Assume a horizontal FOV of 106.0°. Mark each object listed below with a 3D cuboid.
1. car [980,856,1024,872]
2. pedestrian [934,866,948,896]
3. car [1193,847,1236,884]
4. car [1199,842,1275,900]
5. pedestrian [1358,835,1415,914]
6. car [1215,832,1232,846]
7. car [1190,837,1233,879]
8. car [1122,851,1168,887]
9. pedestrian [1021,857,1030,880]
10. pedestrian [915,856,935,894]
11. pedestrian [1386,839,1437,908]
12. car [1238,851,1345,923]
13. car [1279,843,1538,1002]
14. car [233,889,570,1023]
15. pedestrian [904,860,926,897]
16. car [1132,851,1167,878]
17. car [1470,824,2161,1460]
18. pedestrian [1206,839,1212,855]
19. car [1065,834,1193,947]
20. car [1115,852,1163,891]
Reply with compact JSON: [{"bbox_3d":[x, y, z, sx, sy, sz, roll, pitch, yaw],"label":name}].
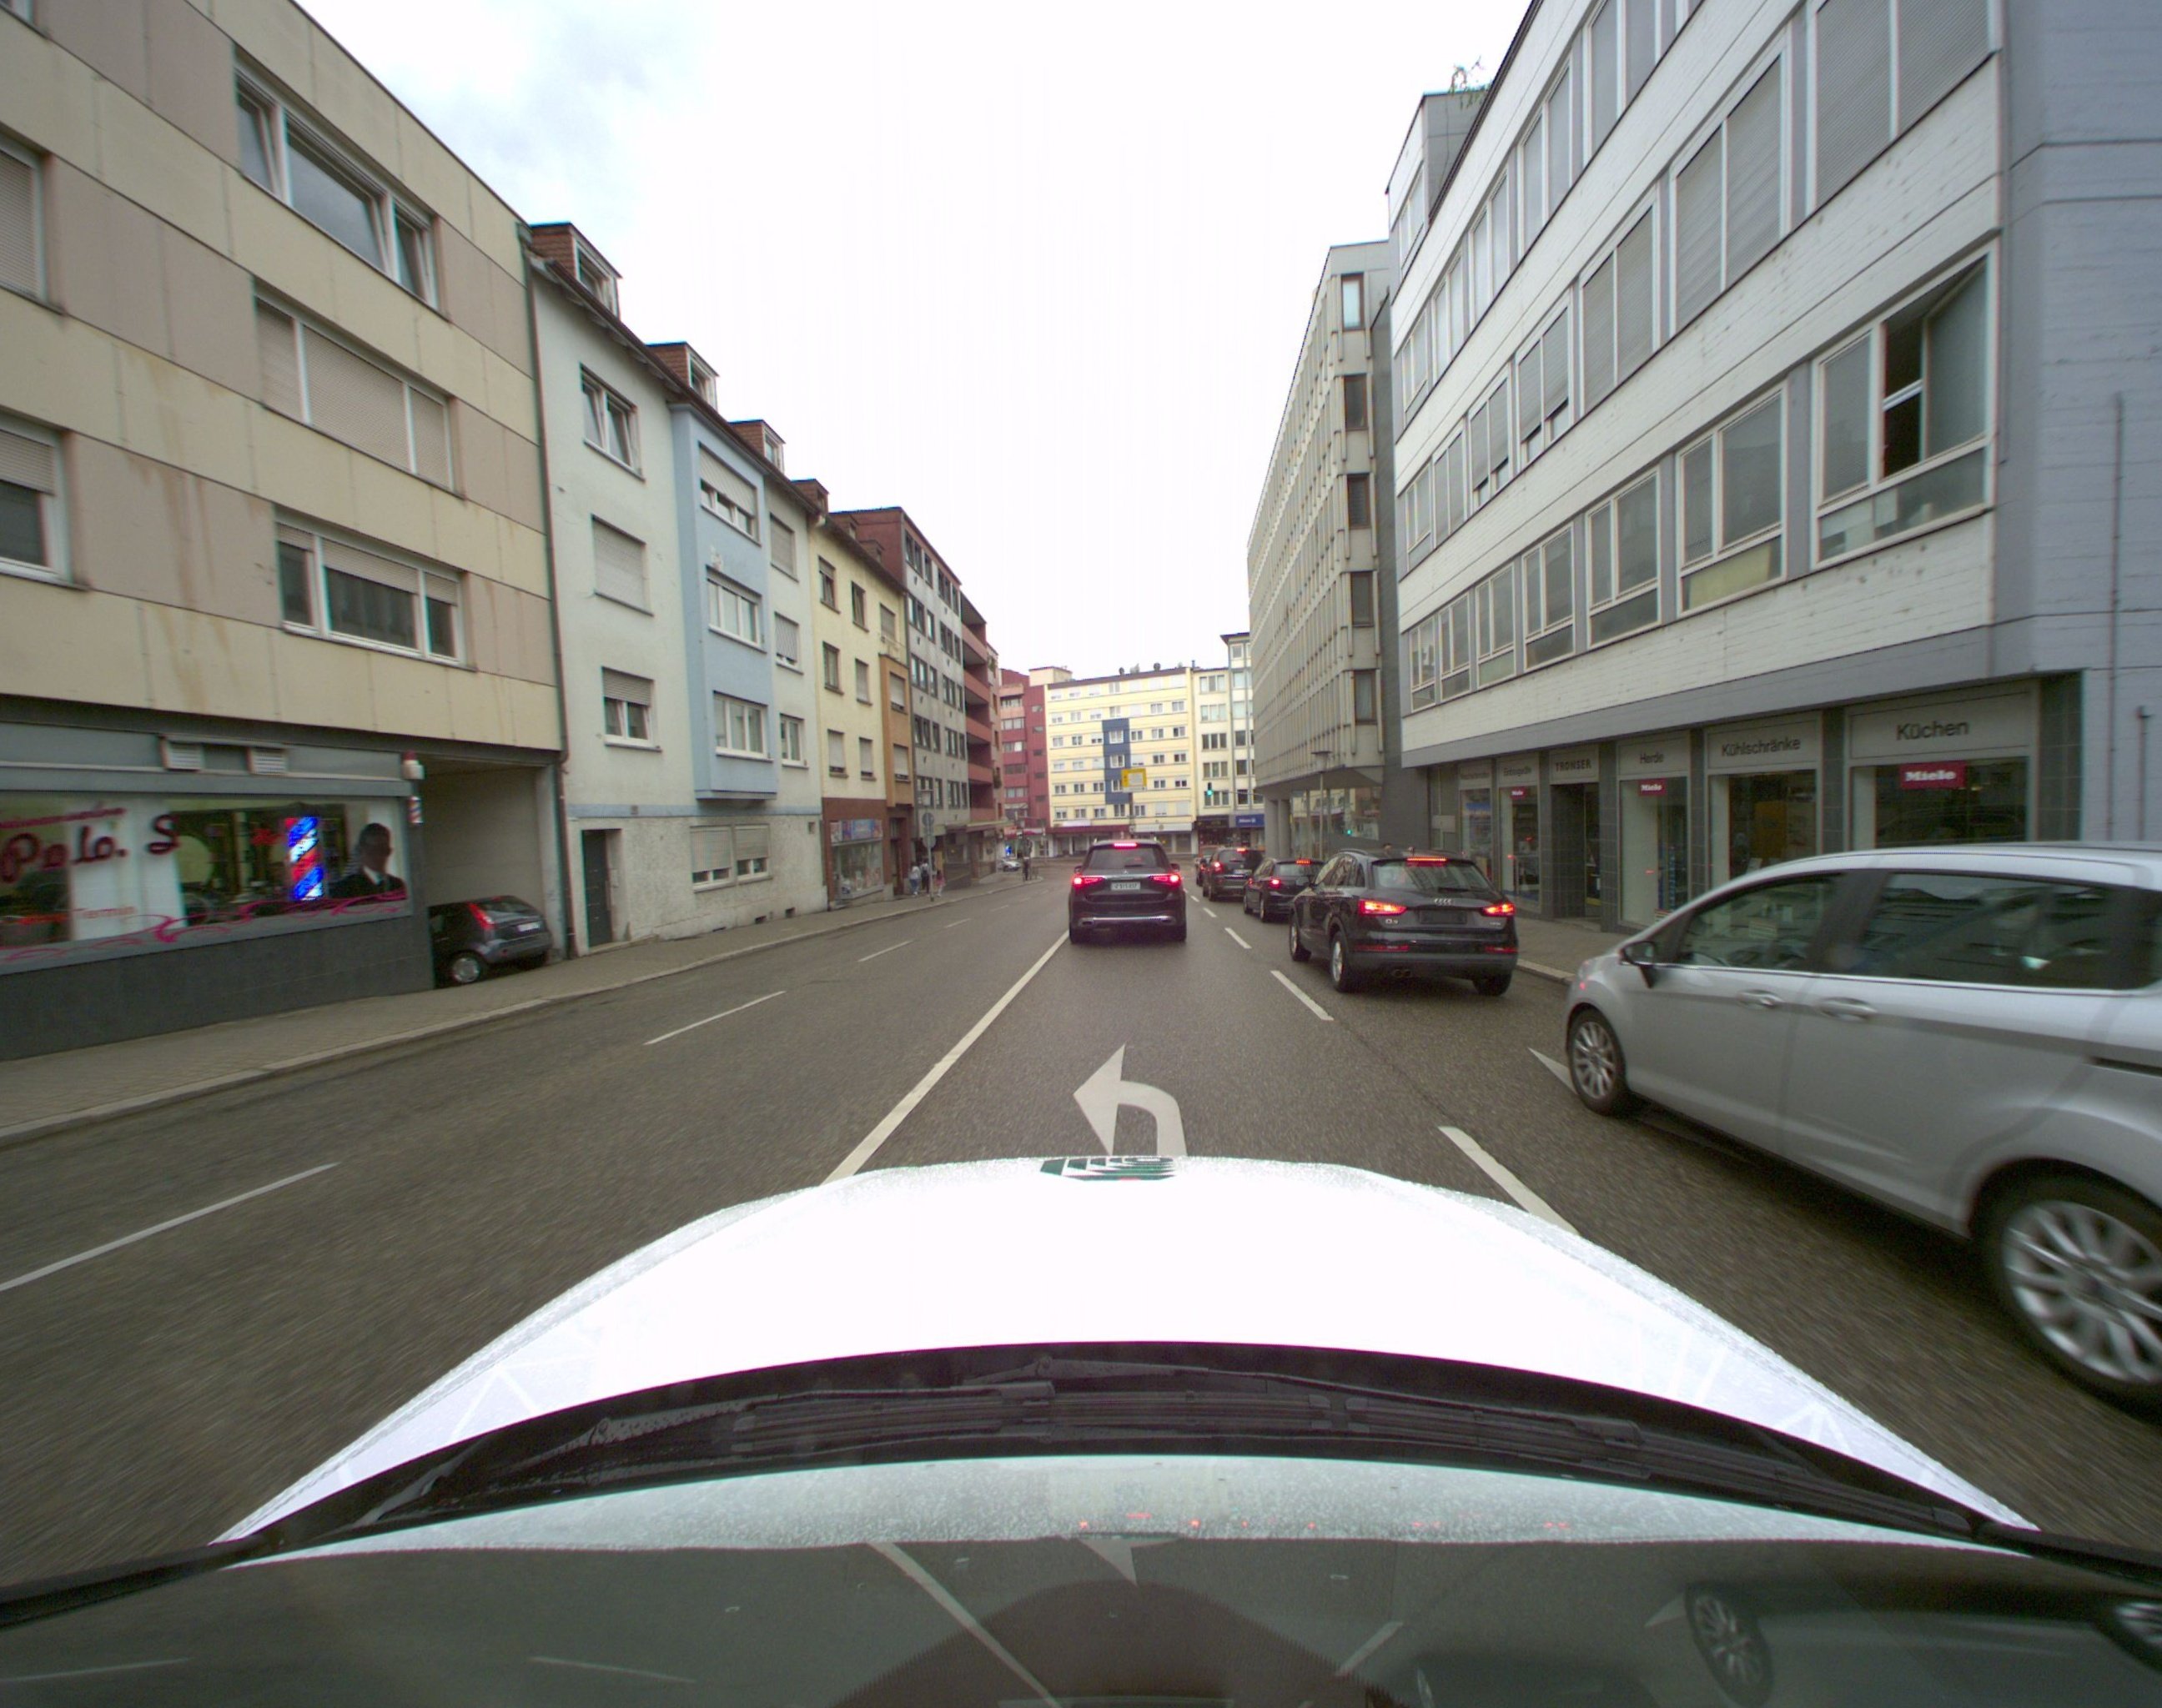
[{"bbox_3d":[-8.215,1.026,84.375,4.127,1.592,1.749,-1,0,20],"label":"car"},{"bbox_3d":[-6.281,1.200,36.559,0.532,1.323,0.722,0,0,-4],"label":"pedestrian"},{"bbox_3d":[6.380,0.559,39.196,1.813,1.658,4.503,-1,-1,7],"label":"car"},{"bbox_3d":[4.975,0.505,26.557,1.889,1.695,4.510,1,0,4],"label":"car"},{"bbox_3d":[7.024,0.467,18.792,0.781,1.705,1.121,-5,-1,2],"label":"pedestrian"},{"bbox_3d":[18.714,-1.943,106.919,1.784,1.670,4.015,-3,0,14],"label":"car"},{"bbox_3d":[7.504,0.235,46.915,2.229,2.228,5.442,-1,0,9],"label":"car"},{"bbox_3d":[3.075,0.671,38.781,1.984,1.486,4.243,-3,0,5],"label":"car"},{"bbox_3d":[-4.346,1.122,63.514,0.552,1.697,0.624,-2,0,1],"label":"pedestrian"},{"bbox_3d":[-6.996,0.946,36.553,0.826,1.689,0.722,0,0,-4],"label":"pedestrian"},{"bbox_3d":[7.971,0.465,19.650,0.762,1.551,0.891,-5,-1,1],"label":"pedestrian"},{"bbox_3d":[4.817,0.689,19.135,1.681,1.477,4.004,1,0,3],"label":"car"},{"bbox_3d":[3.740,0.679,10.149,1.815,1.560,4.206,0,0,4],"label":"car"},{"bbox_3d":[-11.233,1.642,13.699,3.979,1.349,1.677,-9,2,-3],"label":"car"},{"bbox_3d":[-7.193,1.057,35.352,0.826,1.561,0.722,0,0,-4],"label":"pedestrian"},{"bbox_3d":[3.993,0.639,47.272,1.916,1.515,4.668,0,-1,5],"label":"car"},{"bbox_3d":[3.580,0.708,3.542,1.819,1.541,4.253,1,0,1],"label":"car"},{"bbox_3d":[14.905,-0.809,94.576,0.560,1.688,0.758,-3,6,11],"label":"pedestrian"},{"bbox_3d":[0.912,0.582,15.529,2.030,1.799,4.667,-1,0,3],"label":"car"},{"bbox_3d":[2.411,0.693,34.078,1.865,1.494,4.404,-1,0,3],"label":"car"}]
